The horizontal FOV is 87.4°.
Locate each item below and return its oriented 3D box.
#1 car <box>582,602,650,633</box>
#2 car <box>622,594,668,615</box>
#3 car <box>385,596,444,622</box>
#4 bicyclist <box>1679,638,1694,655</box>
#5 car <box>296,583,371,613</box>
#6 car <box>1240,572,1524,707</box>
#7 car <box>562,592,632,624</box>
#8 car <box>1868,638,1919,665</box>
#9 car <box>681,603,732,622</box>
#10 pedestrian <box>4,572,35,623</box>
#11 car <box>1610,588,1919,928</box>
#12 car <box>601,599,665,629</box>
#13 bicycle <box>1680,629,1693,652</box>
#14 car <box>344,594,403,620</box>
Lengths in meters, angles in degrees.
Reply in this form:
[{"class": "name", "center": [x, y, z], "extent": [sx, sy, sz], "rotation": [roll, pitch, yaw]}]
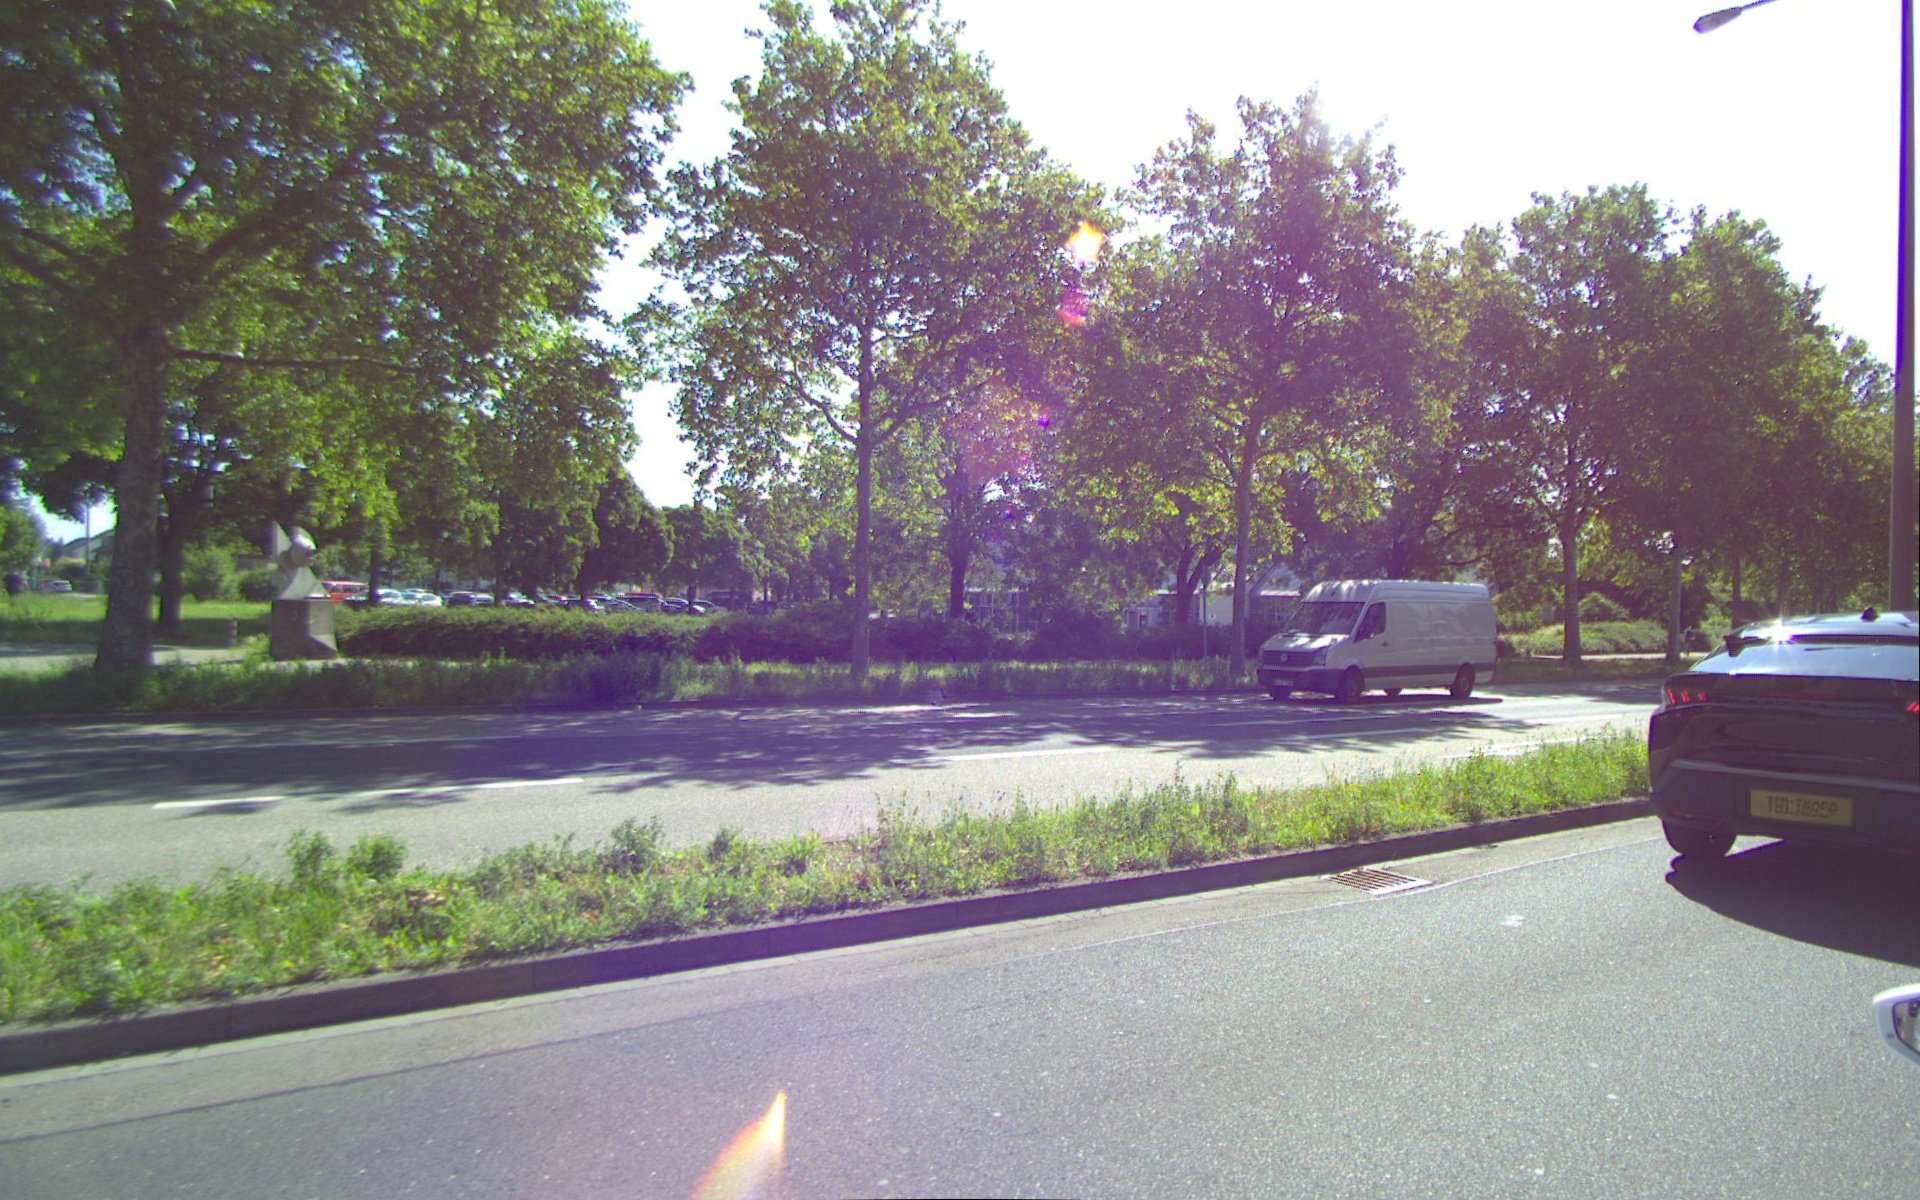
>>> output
[{"class": "car", "center": [-23.483, 1.215, 68.668], "extent": [3.921, 2.040, 1.818], "rotation": [1, -1, 0]}, {"class": "car", "center": [-30.865, 0.446, 98.537], "extent": [3.851, 1.863, 1.770], "rotation": [1, 0, 0]}, {"class": "car", "center": [-32.767, 0.537, 60.425], "extent": [1.419, 1.466, 3.343], "rotation": [1, 0, 5]}, {"class": "bicyclist", "center": [43.918, 2.808, 60.739], "extent": [1.414, 1.027, 0.424], "rotation": [2, -1, -41]}, {"class": "car", "center": [-38.199, -0.090, 61.370], "extent": [1.778, 1.725, 3.989], "rotation": [1, 0, 5]}, {"class": "car", "center": [9.538, 0.877, 22.355], "extent": [7.135, 2.648, 2.050], "rotation": [2, -2, -31]}, {"class": "car", "center": [-23.808, 0.543, 65.936], "extent": [3.921, 2.040, 1.818], "rotation": [1, -1, 0]}, {"class": "car", "center": [57.893, 3.185, 62.247], "extent": [4.358, 1.576, 1.780], "rotation": [2, -2, -39]}, {"class": "car", "center": [-21.531, 1.059, 85.443], "extent": [3.923, 1.511, 1.817], "rotation": [1, -1, -3]}, {"class": "pedestrian", "center": [-38.547, -0.100, 41.179], "extent": [0.703, 2.040, 0.790], "rotation": [1, 0, -28]}, {"class": "car", "center": [6.455, 0.871, 6.711], "extent": [4.385, 1.718, 1.863], "rotation": [2, -2, -31]}, {"class": "car", "center": [-23.448, 0.982, 72.144], "extent": [3.921, 2.040, 1.818], "rotation": [1, -1, 0]}, {"class": "bicycle", "center": [43.947, 2.432, 60.758], "extent": [0.947, 1.403, 0.424], "rotation": [1, -1, -41]}, {"class": "car", "center": [-35.365, 0.427, 60.629], "extent": [1.321, 1.466, 3.343], "rotation": [1, 0, 5]}]
